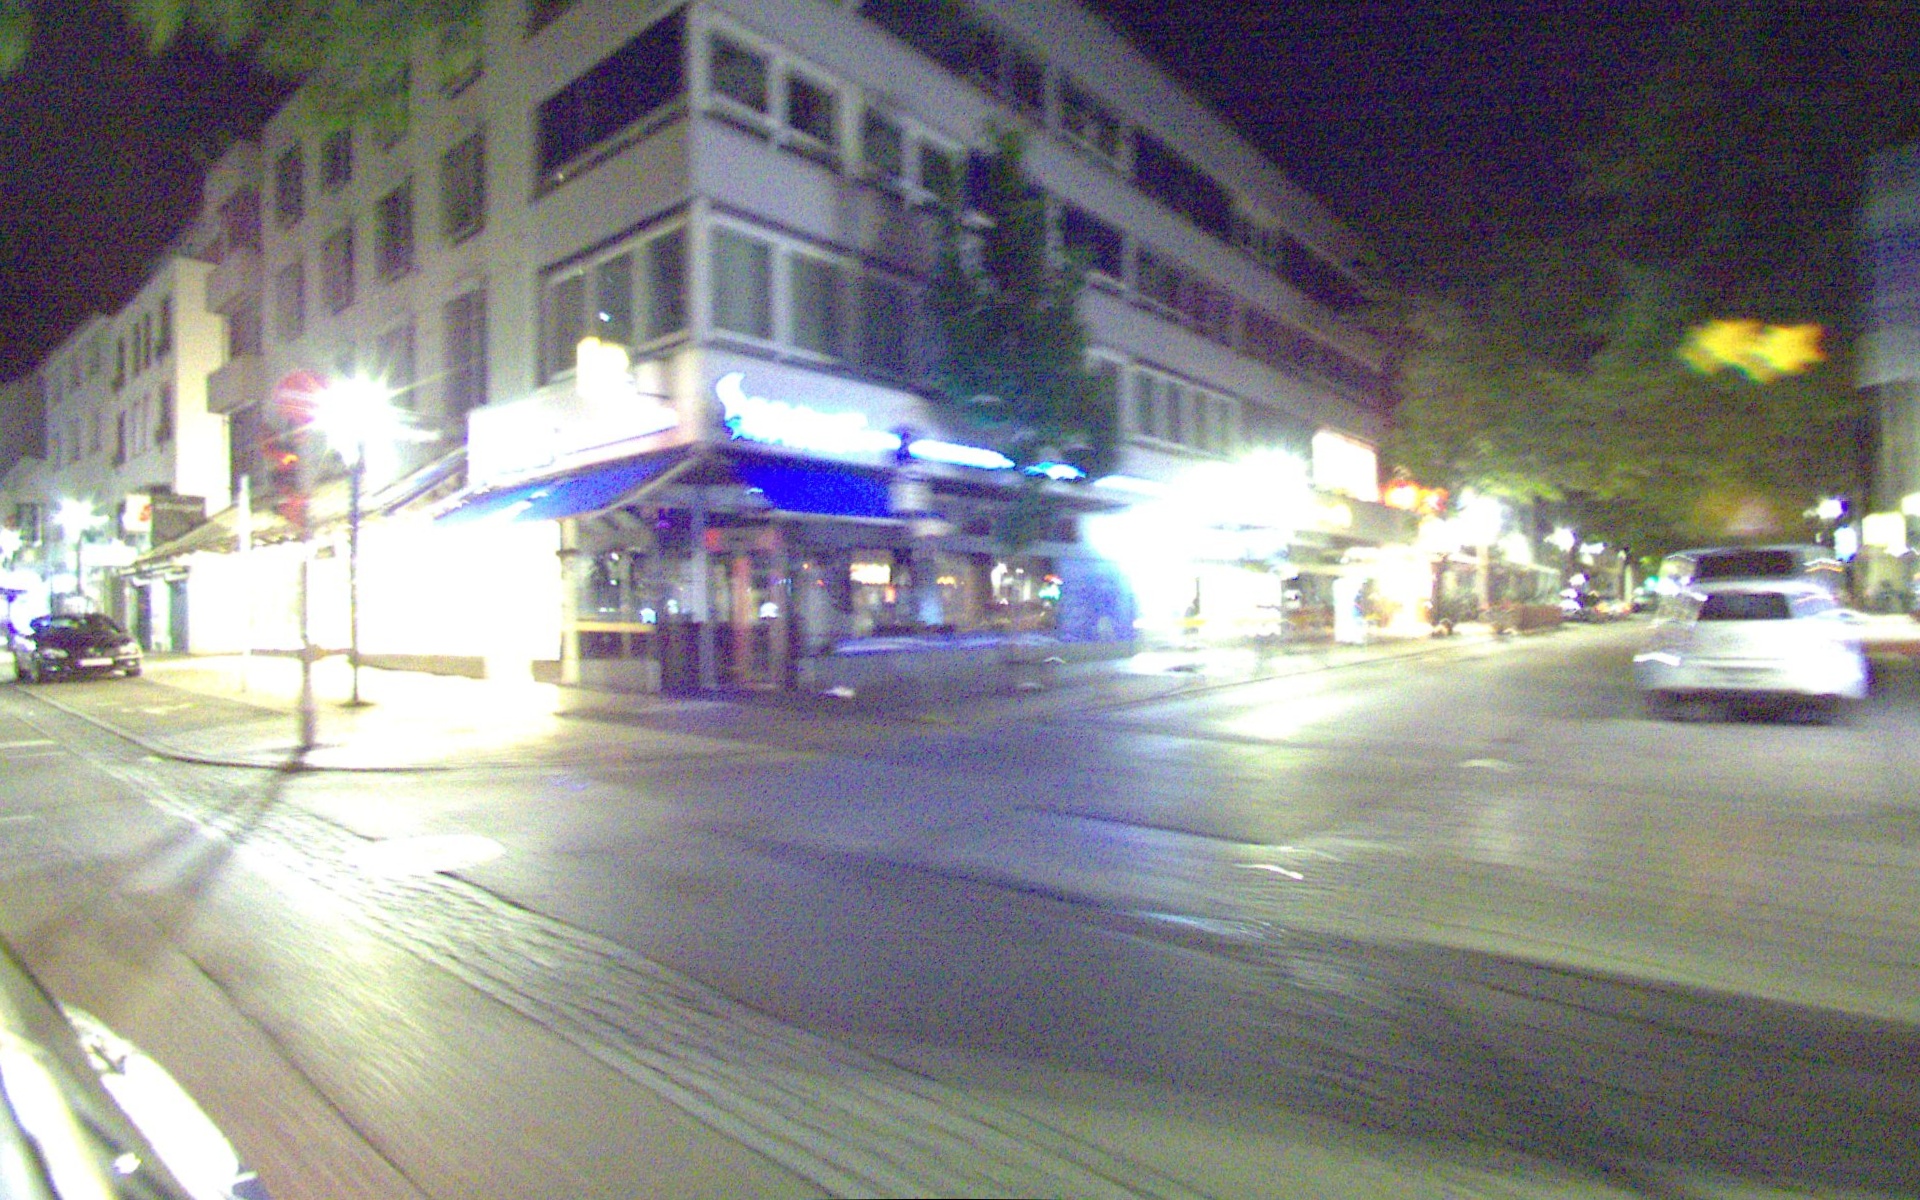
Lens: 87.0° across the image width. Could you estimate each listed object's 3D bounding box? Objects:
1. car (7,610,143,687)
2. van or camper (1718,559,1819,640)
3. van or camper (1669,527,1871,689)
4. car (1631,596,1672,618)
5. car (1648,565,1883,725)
[{"bbox_3d":[-19.045,0.992,21.723,4.012,1.436,1.634,-1,1,41],"label":"car"},{"bbox_3d":[23.538,-0.013,29.424,2.089,2.144,4.070,-3,-2,40],"label":"van or camper"},{"bbox_3d":[12.443,0.136,15.562,2.089,2.144,4.070,-3,-2,40],"label":"van or camper"},{"bbox_3d":[46.550,0.506,68.082,1.802,1.447,3.945,-1,-1,42],"label":"car"},{"bbox_3d":[9.190,0.458,11.643,1.796,1.532,3.565,-3,-2,38],"label":"car"}]
